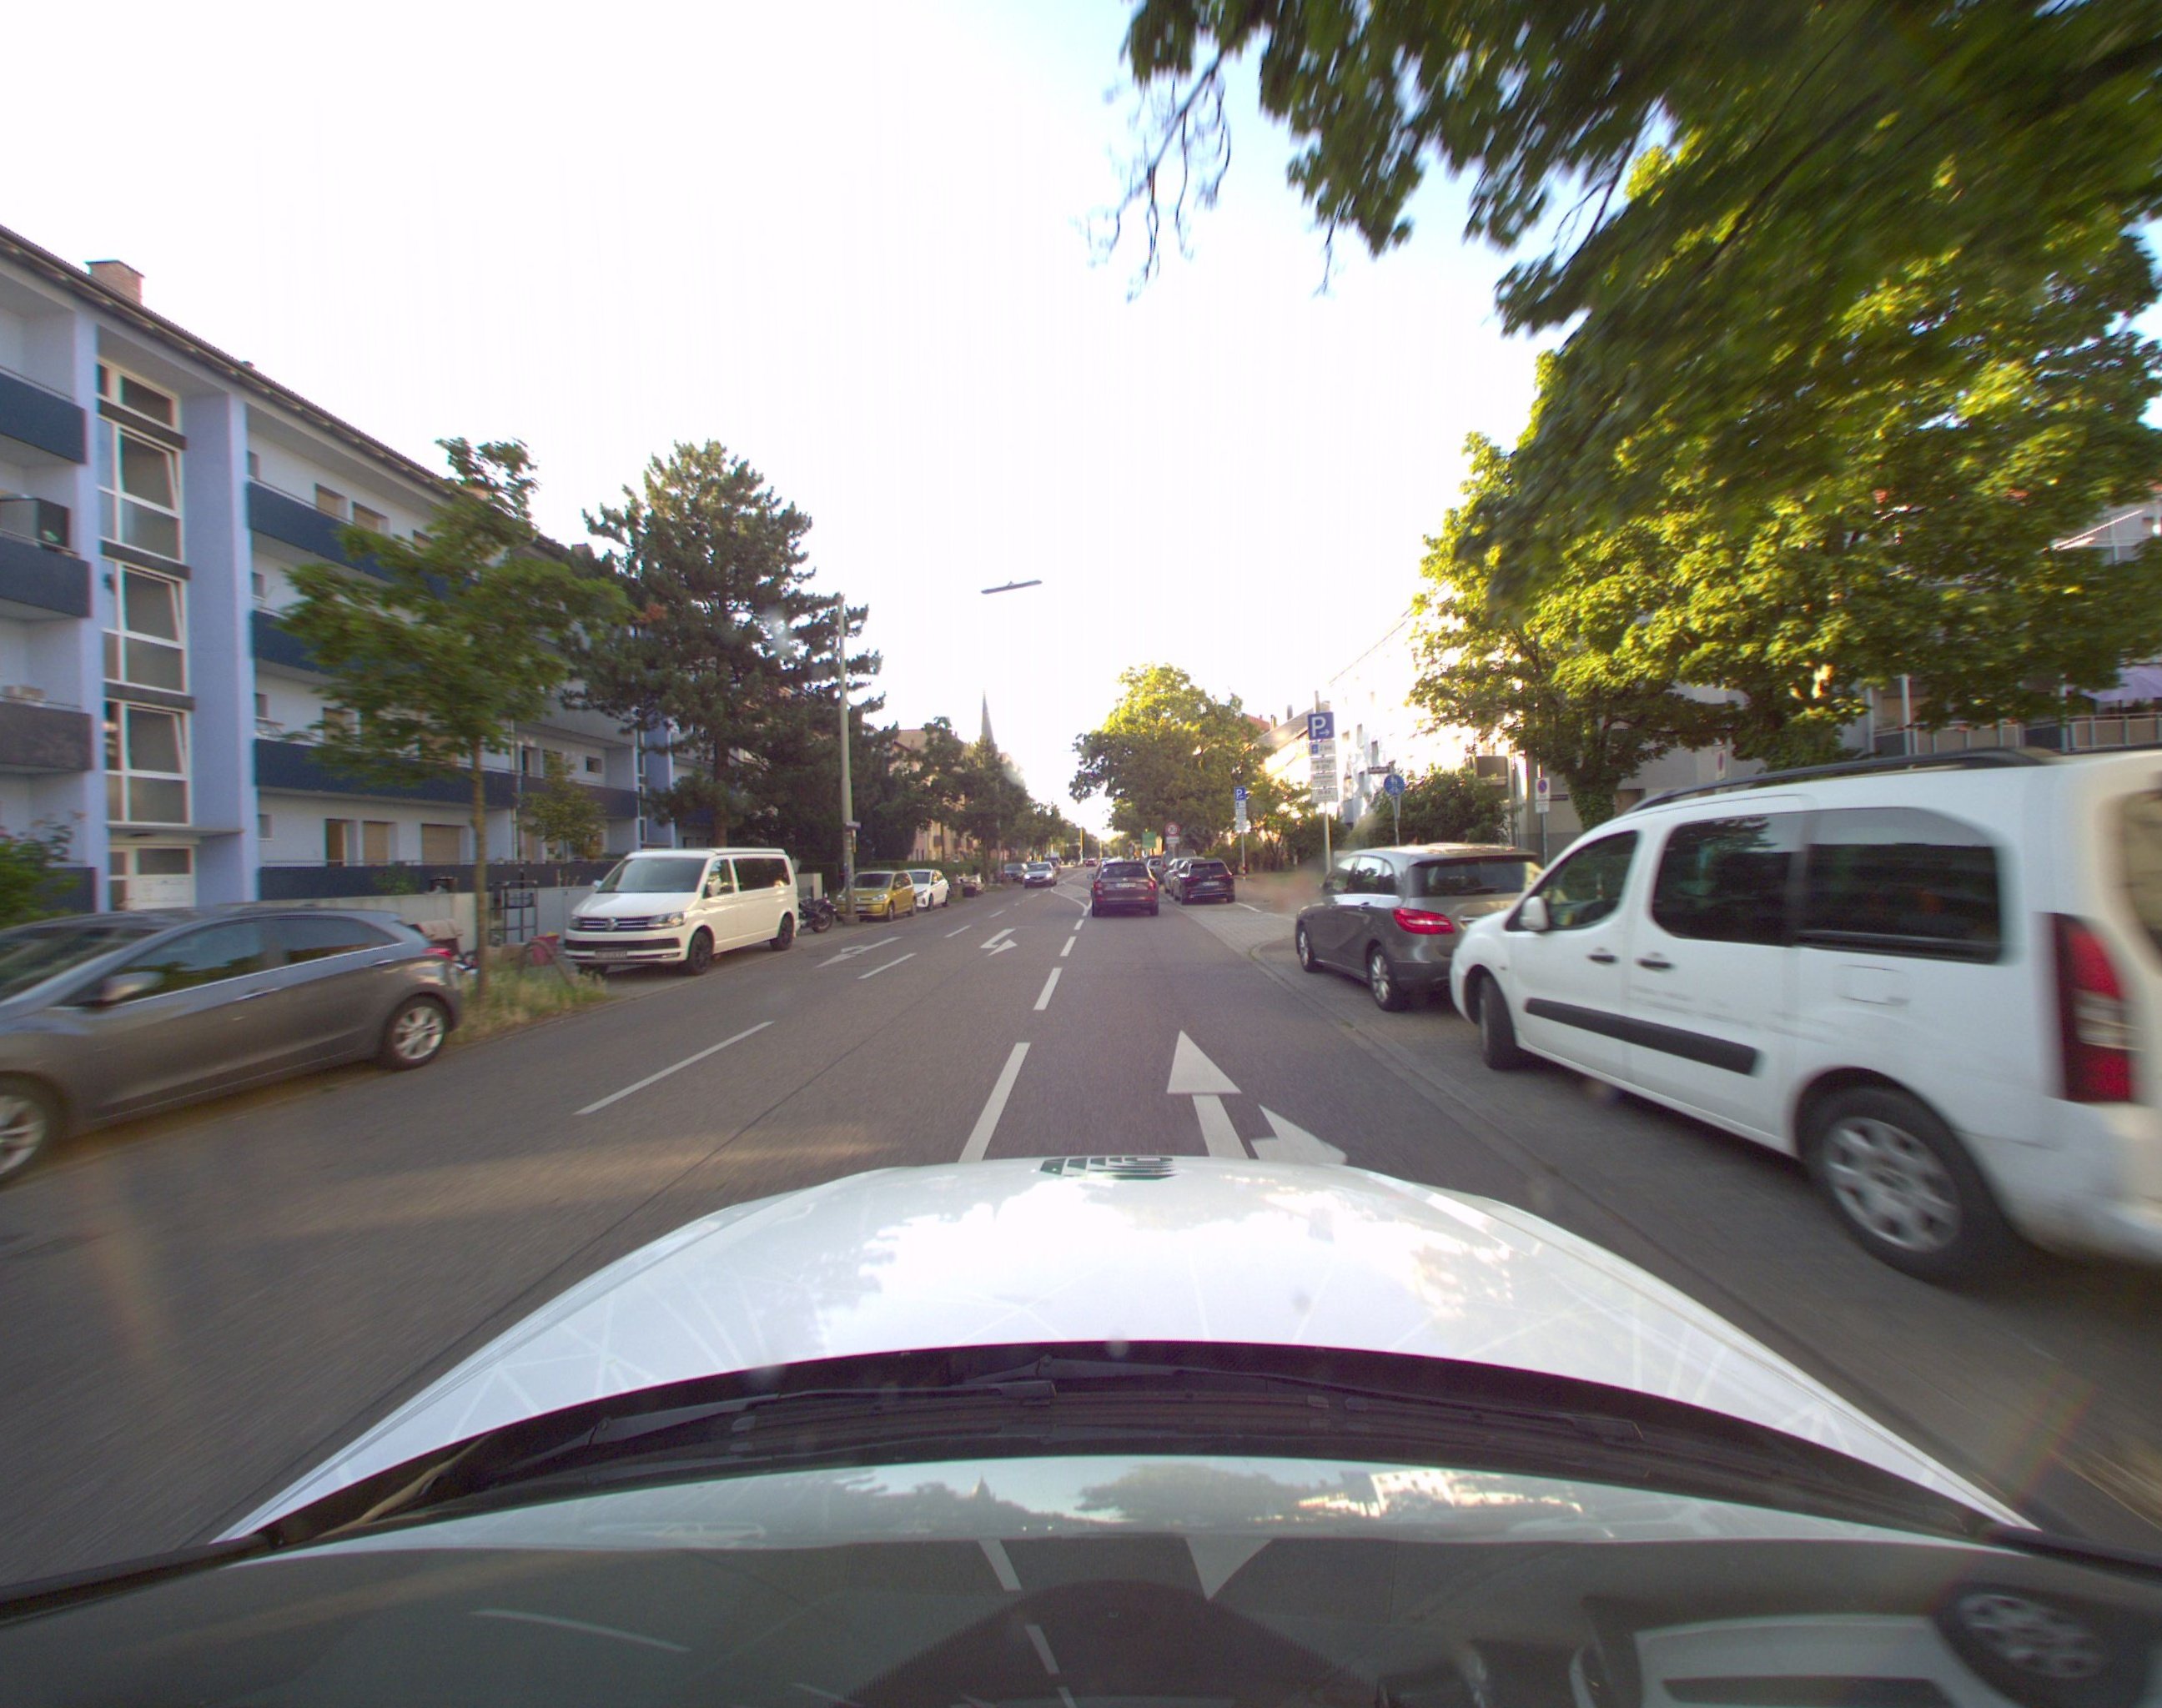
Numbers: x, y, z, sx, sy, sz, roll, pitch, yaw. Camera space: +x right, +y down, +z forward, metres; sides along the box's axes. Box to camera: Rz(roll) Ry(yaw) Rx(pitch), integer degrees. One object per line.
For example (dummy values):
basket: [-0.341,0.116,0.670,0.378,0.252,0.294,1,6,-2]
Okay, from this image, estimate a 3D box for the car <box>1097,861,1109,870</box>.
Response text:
car: [3.538,1.884,132.933,1.776,1.480,3.969,-1,0,-1]

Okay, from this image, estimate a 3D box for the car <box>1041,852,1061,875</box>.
car: [-3.642,1.149,99.165,1.984,2.781,5.505,-1,0,1]

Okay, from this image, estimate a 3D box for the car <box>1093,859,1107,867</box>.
car: [4.152,2.082,182.329,1.998,1.750,3.978,-2,0,-16]

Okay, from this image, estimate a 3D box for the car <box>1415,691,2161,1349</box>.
car: [3.641,0.454,4.471,1.794,1.808,4.423,-1,0,0]

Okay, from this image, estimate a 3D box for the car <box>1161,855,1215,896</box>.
car: [4.313,0.820,33.344,1.748,1.557,4.105,-1,0,1]

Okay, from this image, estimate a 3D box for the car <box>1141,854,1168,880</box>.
car: [5.002,0.857,55.870,1.746,1.715,4.004,-1,0,4]

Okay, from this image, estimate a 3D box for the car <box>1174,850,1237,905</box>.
car: [4.122,0.733,27.532,1.746,1.686,4.256,-1,0,4]

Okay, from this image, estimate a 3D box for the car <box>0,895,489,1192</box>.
car: [-6.718,1.157,5.815,1.685,1.483,4.148,-2,0,4]

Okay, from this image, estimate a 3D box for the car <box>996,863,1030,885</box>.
car: [-4.772,1.377,57.904,1.773,1.480,4.038,-1,0,4]

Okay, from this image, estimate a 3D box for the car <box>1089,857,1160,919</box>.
car: [1.203,0.852,22.040,1.746,1.492,4.004,-1,0,4]

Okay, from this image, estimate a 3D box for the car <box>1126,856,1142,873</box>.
car: [6.015,1.185,92.240,1.747,1.806,4.003,-1,0,3]

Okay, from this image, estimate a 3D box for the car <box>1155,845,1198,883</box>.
car: [5.036,0.509,43.590,1.908,1.860,5.638,-2,0,4]

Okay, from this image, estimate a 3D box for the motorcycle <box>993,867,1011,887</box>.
motorcycle: [-5.056,1.451,51.945,0.736,1.204,2.144,-1,0,5]

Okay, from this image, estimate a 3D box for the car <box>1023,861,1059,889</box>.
car: [-2.366,1.240,49.504,1.733,1.479,4.311,-5,0,2]

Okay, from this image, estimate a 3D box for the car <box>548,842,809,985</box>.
car: [-6.737,0.877,14.484,1.862,2.031,5.302,-1,0,1]

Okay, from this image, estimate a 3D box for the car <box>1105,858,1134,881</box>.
car: [2.639,1.055,56.296,1.885,1.506,3.791,1,-1,2]

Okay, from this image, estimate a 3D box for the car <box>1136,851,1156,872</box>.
car: [5.973,0.674,75.457,1.746,1.806,4.004,-1,0,4]

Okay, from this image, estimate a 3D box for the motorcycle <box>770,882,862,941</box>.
motorcycle: [-6.327,1.353,19.608,0.653,1.204,2.345,-3,0,23]

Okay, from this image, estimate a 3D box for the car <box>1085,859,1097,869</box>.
car: [1.913,1.982,159.950,1.989,1.750,3.995,-2,0,-3]

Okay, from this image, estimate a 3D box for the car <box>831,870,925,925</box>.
car: [-6.100,1.268,24.878,1.611,1.480,3.876,-1,0,4]

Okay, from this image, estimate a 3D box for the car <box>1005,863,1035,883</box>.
car: [-4.779,1.478,63.988,1.773,1.480,3.975,-1,0,4]

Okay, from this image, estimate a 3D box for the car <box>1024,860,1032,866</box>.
car: [-14.802,2.458,227.011,1.991,1.750,3.992,-2,0,-5]

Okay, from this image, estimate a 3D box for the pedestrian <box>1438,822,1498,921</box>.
pedestrian: [7.634,0.337,16.092,0.793,1.861,0.954,-3,-1,13]

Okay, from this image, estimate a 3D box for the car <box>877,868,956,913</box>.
car: [-5.944,1.289,29.900,1.773,1.494,3.975,-1,0,4]

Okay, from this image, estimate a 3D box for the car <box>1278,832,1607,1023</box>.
car: [3.670,0.649,9.230,1.749,1.557,4.251,-4,0,0]

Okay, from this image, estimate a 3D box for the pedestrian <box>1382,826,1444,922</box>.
pedestrian: [6.740,0.393,16.561,0.746,1.861,1.068,-3,-1,1]
